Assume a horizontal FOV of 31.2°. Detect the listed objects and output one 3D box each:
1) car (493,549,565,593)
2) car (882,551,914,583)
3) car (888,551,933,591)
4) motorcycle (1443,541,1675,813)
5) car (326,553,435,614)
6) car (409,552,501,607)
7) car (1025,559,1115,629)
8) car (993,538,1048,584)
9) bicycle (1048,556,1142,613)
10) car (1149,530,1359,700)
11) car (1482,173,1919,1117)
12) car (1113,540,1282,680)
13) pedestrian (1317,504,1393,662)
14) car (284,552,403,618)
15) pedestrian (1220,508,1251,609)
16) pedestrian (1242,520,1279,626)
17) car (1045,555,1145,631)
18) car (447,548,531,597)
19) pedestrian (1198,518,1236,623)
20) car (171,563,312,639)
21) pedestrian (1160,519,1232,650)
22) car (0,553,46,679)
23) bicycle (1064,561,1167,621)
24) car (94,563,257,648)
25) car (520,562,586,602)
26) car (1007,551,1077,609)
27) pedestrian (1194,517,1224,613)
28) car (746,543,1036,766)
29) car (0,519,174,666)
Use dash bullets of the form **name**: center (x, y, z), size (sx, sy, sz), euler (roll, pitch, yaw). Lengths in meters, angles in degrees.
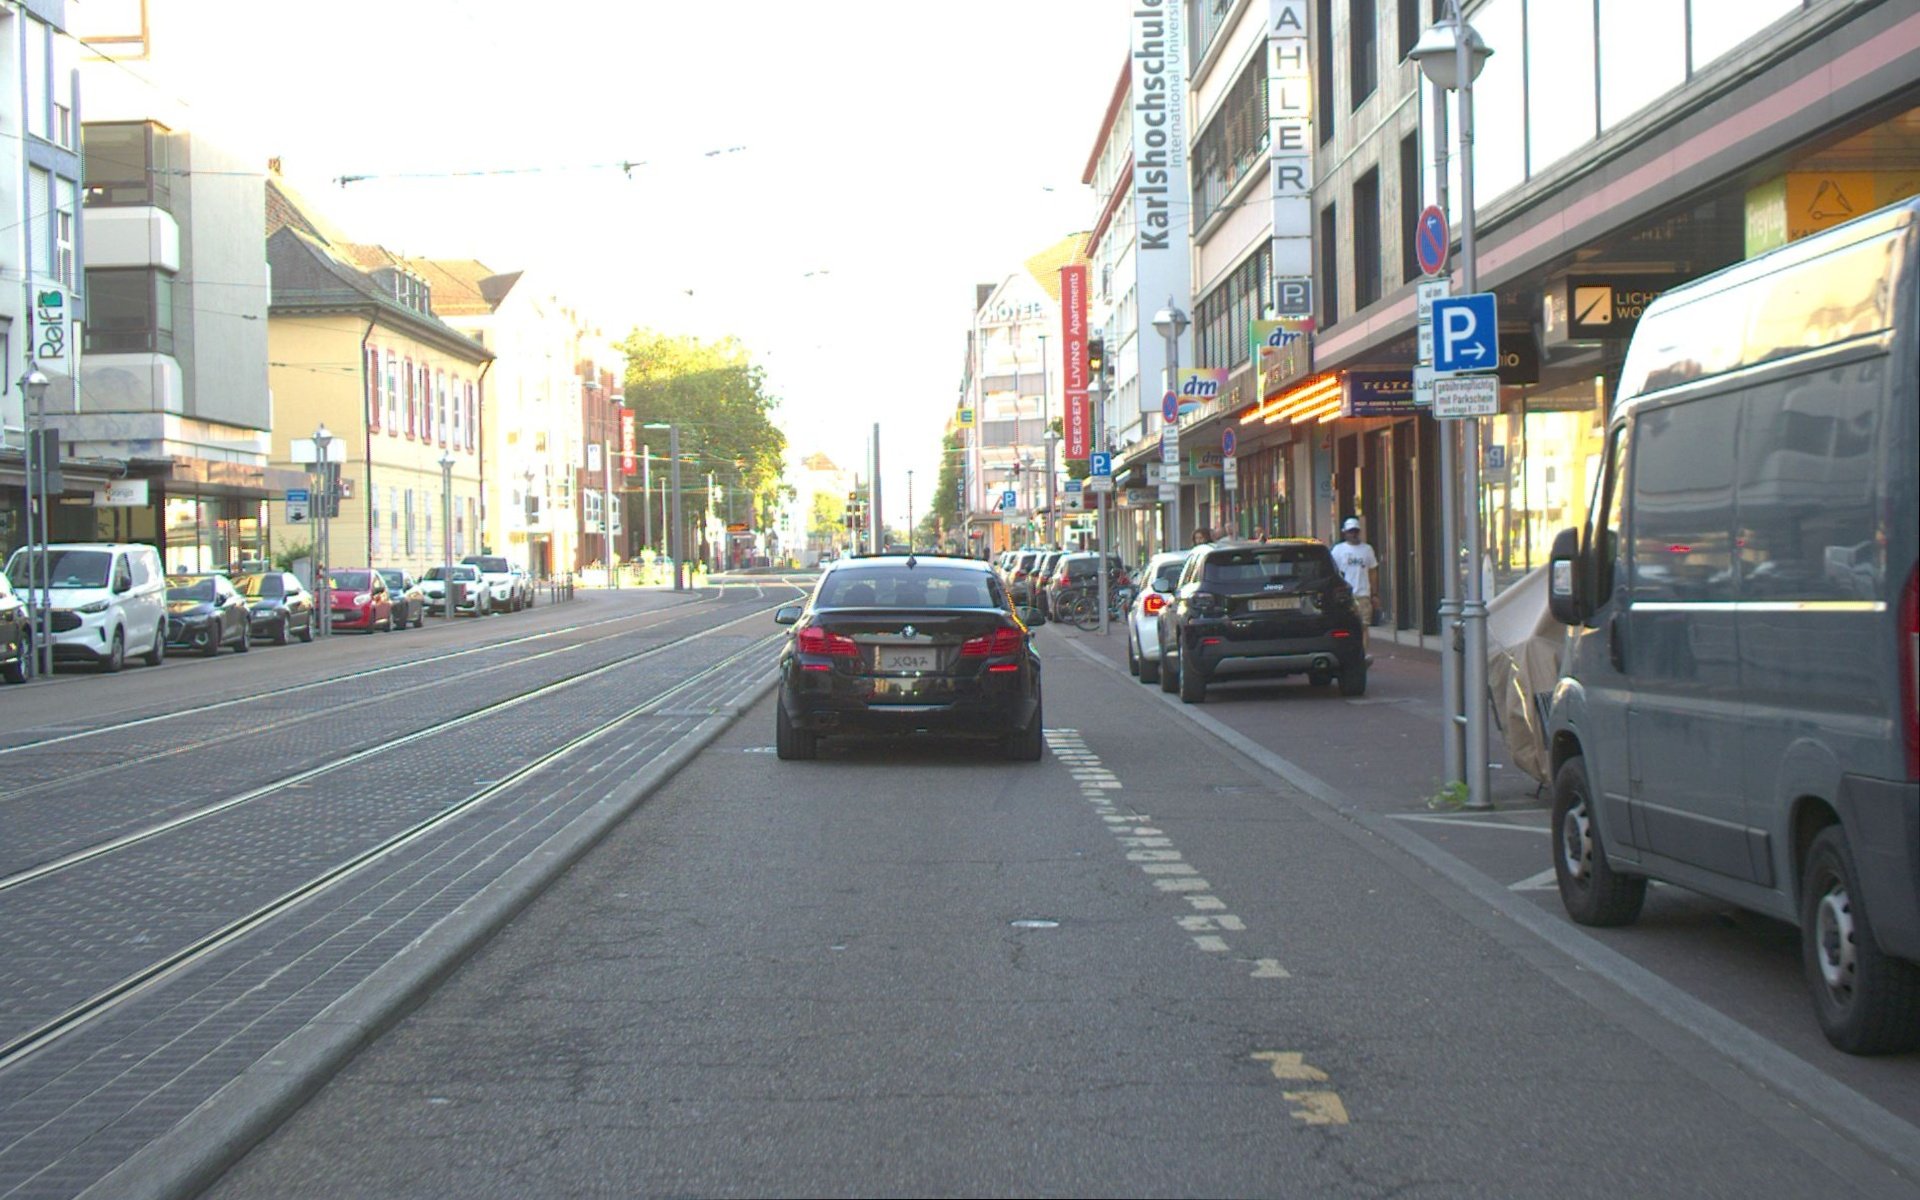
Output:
- **car**: center (-14.598, -0.997, 116.623), size (1.928, 1.430, 4.246), euler (0, 1, 0)
- **car**: center (-3.965, -2.125, 220.901), size (1.993, 1.832, 4.000), euler (-1, -2, 0)
- **car**: center (-1.971, -1.159, 138.001), size (1.774, 1.543, 3.503), euler (-1, 0, 0)
- **motorcycle**: center (3.371, 0.398, 19.556), size (0.844, 1.414, 2.165), euler (-4, 1, 0)
- **car**: center (-13.941, -0.421, 82.849), size (1.928, 1.430, 4.246), euler (0, 1, 0)
- **car**: center (-14.118, -0.596, 96.336), size (1.928, 1.430, 4.246), euler (-1, 1, 0)
- **car**: center (2.502, -0.138, 79.047), size (1.903, 1.543, 3.780), euler (-1, 0, 0)
- **car**: center (2.057, -1.314, 117.071), size (1.774, 1.543, 3.503), euler (-1, 0, 0)
- **bicycle**: center (2.704, -0.309, 68.916), size (1.861, 1.115, 0.468), euler (-1, 0, 1)
- **car**: center (2.865, 0.104, 34.201), size (1.654, 1.532, 3.886), euler (-2, 1, -1)
- **car**: center (3.338, 0.023, 11.651), size (2.033, 2.446, 5.410), euler (-3, 1, -2)
- **car**: center (2.681, 0.079, 39.467), size (1.559, 1.437, 3.709), euler (-3, 1, -1)
- **pedestrian**: center (4.459, -0.195, 38.860), size (0.689, 1.734, 0.820), euler (-3, 1, 1)
- **car**: center (-13.907, -0.367, 77.772), size (1.928, 1.430, 4.246), euler (0, 1, 0)
- **pedestrian**: center (4.907, -0.742, 61.228), size (0.488, 1.784, 0.760), euler (-2, 1, 3)
- **pedestrian**: center (5.147, -0.467, 58.908), size (0.508, 1.786, 0.760), euler (-2, 1, 0)
- **car**: center (2.805, -0.158, 72.191), size (1.903, 1.543, 4.000), euler (-1, 0, 0)
- **car**: center (-14.056, -0.843, 102.739), size (1.928, 1.430, 4.246), euler (0, 1, 0)
- **pedestrian**: center (4.428, -0.515, 59.262), size (0.554, 1.785, 0.760), euler (-2, 1, 0)
- **car**: center (-14.174, -0.009, 68.046), size (1.928, 1.430, 4.246), euler (0, 1, 0)
- **pedestrian**: center (3.008, -0.196, 43.810), size (0.556, 1.641, 0.760), euler (-2, 1, -27)
- **car**: center (-13.705, 0.215, 45.838), size (1.860, 1.672, 4.464), euler (0, 1, 0)
- **bicycle**: center (2.848, -0.171, 63.168), size (1.861, 1.076, 0.468), euler (-1, 0, 1)
- **car**: center (-13.843, 0.073, 60.873), size (1.928, 1.430, 4.246), euler (0, 1, 0)
- **car**: center (-14.782, -0.666, 125.098), size (1.928, 1.430, 4.246), euler (0, 1, 0)
- **car**: center (2.213, -0.537, 93.887), size (1.774, 1.543, 3.503), euler (-1, 0, 0)
- **pedestrian**: center (4.428, -0.621, 61.261), size (0.475, 1.693, 0.752), euler (-2, 1, 3)
- **car**: center (-0.432, 0.347, 25.664), size (1.953, 1.493, 4.465), euler (-1, 1, 1)
- **car**: center (-13.725, -0.142, 53.486), size (1.993, 2.149, 4.911), euler (-1, 1, -2)
